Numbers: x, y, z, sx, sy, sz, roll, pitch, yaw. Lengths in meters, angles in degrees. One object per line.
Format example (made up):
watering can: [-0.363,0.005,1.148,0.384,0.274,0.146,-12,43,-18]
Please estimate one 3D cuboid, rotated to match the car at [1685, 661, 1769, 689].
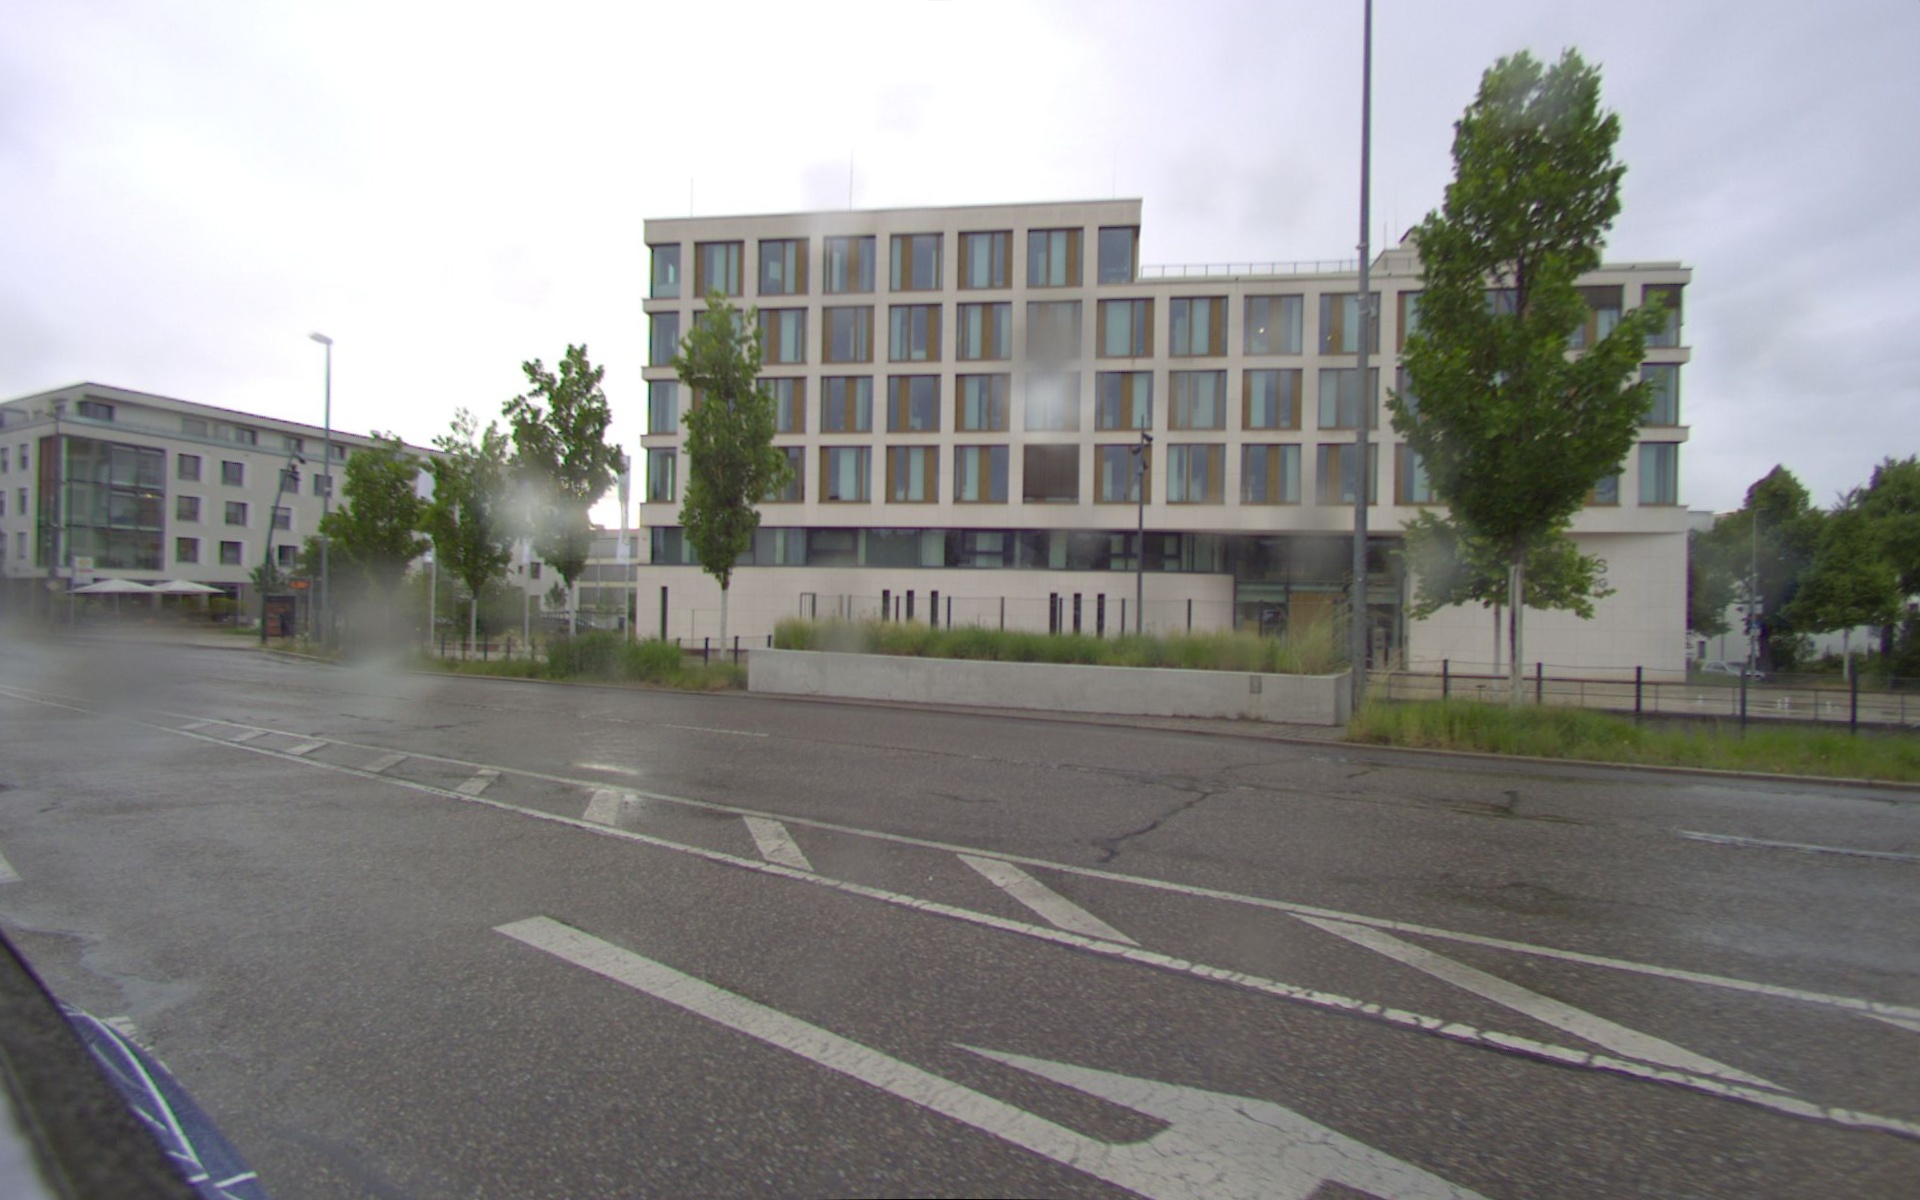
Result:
car: [43.987,4.277,58.148,1.563,1.478,4.002,0,-2,-3]
